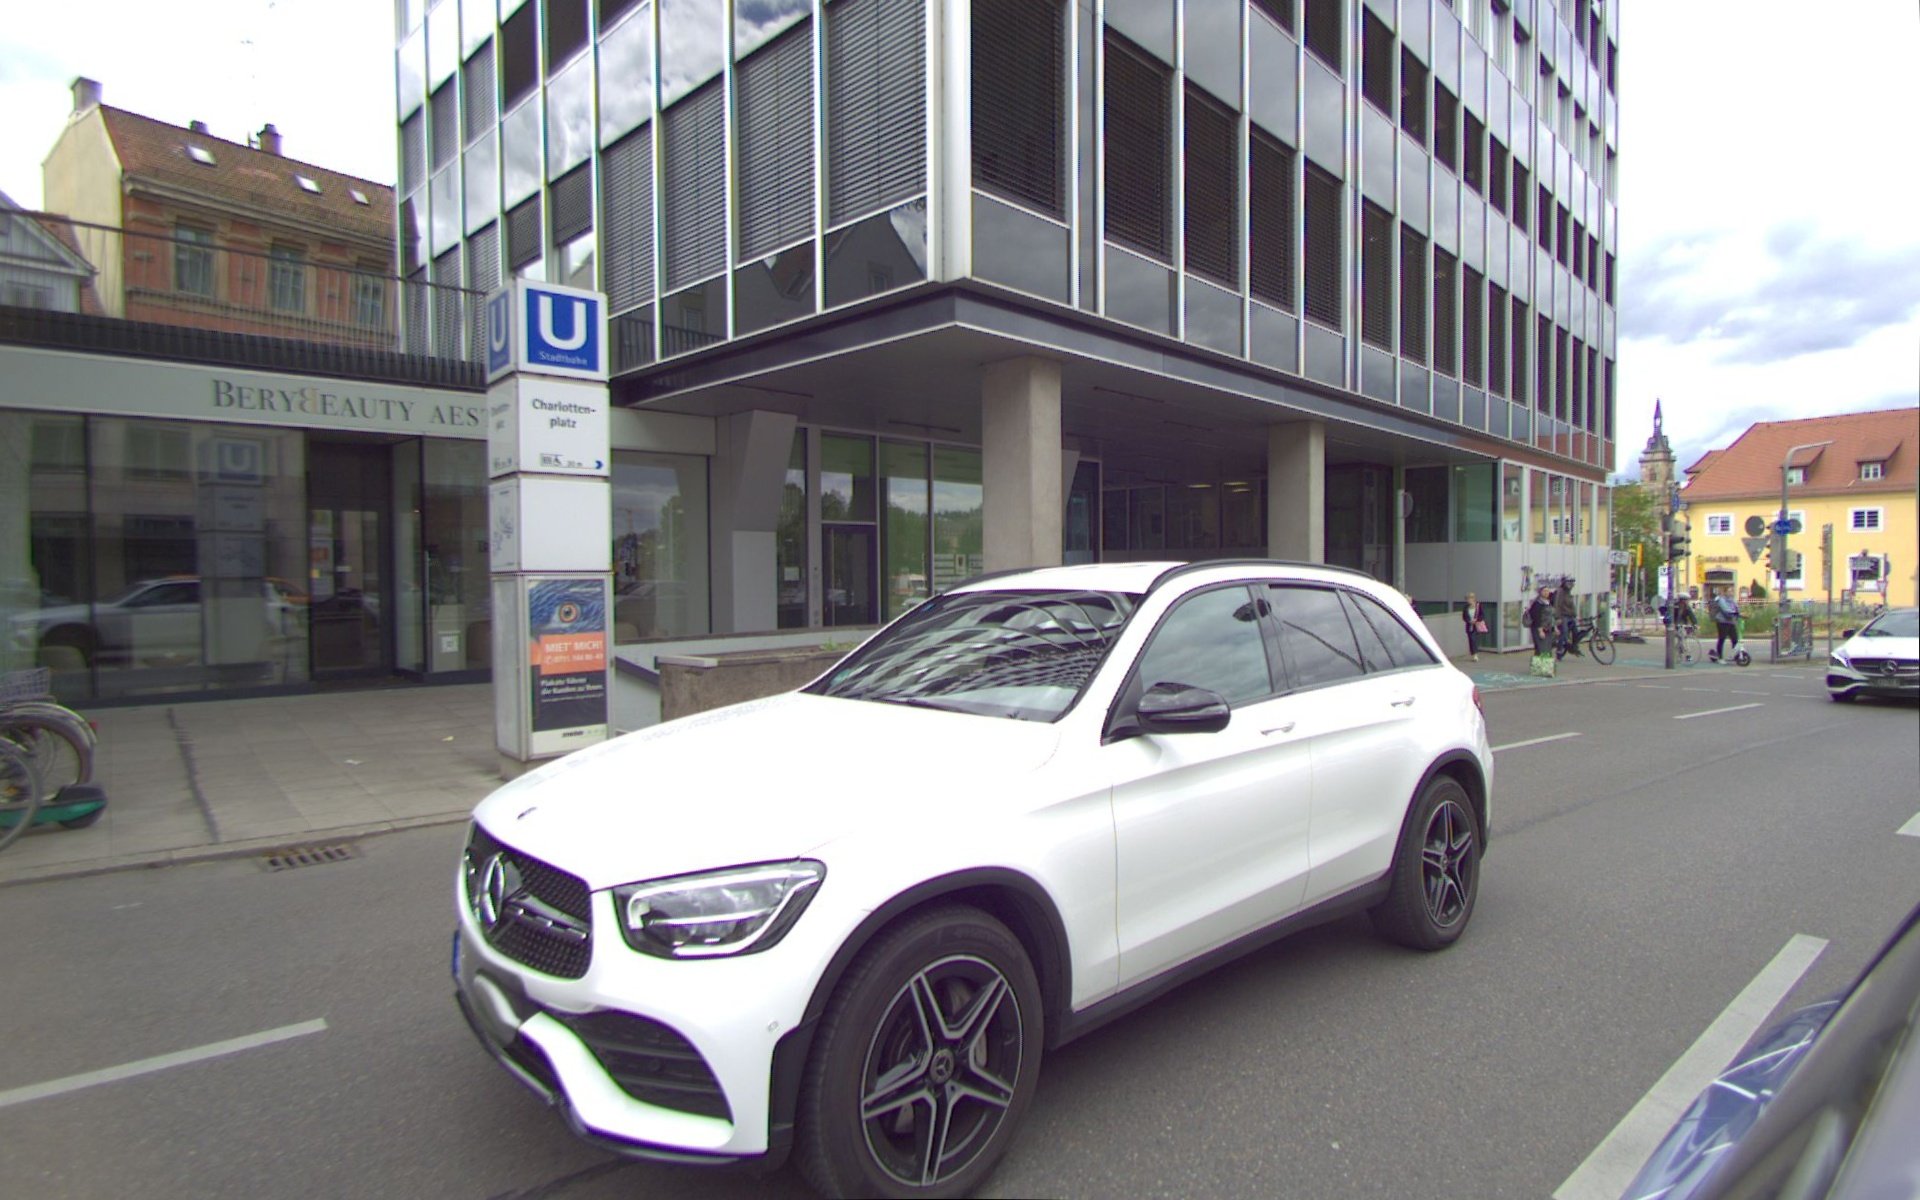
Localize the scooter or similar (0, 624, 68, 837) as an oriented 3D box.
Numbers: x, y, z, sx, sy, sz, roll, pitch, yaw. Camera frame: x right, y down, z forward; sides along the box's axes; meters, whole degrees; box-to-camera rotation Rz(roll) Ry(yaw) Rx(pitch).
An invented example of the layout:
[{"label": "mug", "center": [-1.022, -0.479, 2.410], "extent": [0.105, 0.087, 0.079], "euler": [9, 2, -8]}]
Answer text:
[{"label": "scooter or similar", "center": [-5.998, 0.794, 6.031], "extent": [0.305, 1.267, 0.984], "euler": [1, 1, 36]}]

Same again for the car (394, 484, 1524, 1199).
[{"label": "car", "center": [0.402, 0.572, 3.924], "extent": [4.259, 1.666, 1.805], "euler": [-1, 2, -42]}]

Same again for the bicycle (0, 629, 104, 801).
[{"label": "bicycle", "center": [-6.978, 0.804, 6.957], "extent": [1.658, 1.147, 0.490], "euler": [0, 1, -40]}]

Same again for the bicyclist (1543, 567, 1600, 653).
[{"label": "bicyclist", "center": [13.620, 0.209, 22.554], "extent": [0.661, 1.868, 0.816], "euler": [0, 2, -16]}]

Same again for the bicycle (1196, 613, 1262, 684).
[{"label": "bicycle", "center": [4.385, 0.763, 16.457], "extent": [0.708, 1.061, 1.471], "euler": [1, 1, 28]}]

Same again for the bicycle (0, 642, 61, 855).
[{"label": "bicycle", "center": [-5.974, 0.842, 5.355], "extent": [1.812, 1.147, 0.490], "euler": [0, 1, -42]}]

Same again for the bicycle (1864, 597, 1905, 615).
[{"label": "bicycle", "center": [58.231, 0.373, 63.746], "extent": [0.609, 1.099, 1.774], "euler": [0, 1, -31]}]

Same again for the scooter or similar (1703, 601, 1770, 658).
[{"label": "scooter or similar", "center": [17.464, 0.647, 22.795], "extent": [0.583, 1.190, 1.321], "euler": [1, 2, 8]}]

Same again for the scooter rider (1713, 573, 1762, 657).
[{"label": "scooter rider", "center": [17.459, 0.323, 22.746], "extent": [0.583, 1.831, 0.642], "euler": [1, 2, 8]}]

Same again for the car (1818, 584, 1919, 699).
[{"label": "car", "center": [15.049, 0.585, 15.329], "extent": [4.560, 1.589, 1.872], "euler": [1, -1, -33]}]

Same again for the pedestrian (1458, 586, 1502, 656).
[{"label": "pedestrian", "center": [11.251, 0.433, 21.892], "extent": [0.604, 1.460, 0.825], "euler": [2, 2, 45]}]

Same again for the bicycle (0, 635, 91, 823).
[{"label": "bicycle", "center": [-6.537, 0.827, 6.159], "extent": [0.489, 1.147, 1.858], "euler": [1, 1, 43]}]

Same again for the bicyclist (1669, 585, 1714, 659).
[{"label": "bicyclist", "center": [16.177, 0.468, 22.384], "extent": [0.558, 1.568, 0.841], "euler": [1, 2, 21]}]

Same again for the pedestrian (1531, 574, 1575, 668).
[{"label": "pedestrian", "center": [11.302, 0.385, 19.298], "extent": [0.525, 1.732, 0.741], "euler": [3, 4, 44]}]

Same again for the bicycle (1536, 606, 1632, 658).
[{"label": "bicycle", "center": [13.820, 0.691, 22.472], "extent": [0.666, 1.019, 1.772], "euler": [3, 1, -16]}]

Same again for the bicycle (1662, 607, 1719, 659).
[{"label": "bicycle", "center": [16.201, 0.714, 22.471], "extent": [0.574, 1.039, 1.659], "euler": [1, 2, 20]}]
